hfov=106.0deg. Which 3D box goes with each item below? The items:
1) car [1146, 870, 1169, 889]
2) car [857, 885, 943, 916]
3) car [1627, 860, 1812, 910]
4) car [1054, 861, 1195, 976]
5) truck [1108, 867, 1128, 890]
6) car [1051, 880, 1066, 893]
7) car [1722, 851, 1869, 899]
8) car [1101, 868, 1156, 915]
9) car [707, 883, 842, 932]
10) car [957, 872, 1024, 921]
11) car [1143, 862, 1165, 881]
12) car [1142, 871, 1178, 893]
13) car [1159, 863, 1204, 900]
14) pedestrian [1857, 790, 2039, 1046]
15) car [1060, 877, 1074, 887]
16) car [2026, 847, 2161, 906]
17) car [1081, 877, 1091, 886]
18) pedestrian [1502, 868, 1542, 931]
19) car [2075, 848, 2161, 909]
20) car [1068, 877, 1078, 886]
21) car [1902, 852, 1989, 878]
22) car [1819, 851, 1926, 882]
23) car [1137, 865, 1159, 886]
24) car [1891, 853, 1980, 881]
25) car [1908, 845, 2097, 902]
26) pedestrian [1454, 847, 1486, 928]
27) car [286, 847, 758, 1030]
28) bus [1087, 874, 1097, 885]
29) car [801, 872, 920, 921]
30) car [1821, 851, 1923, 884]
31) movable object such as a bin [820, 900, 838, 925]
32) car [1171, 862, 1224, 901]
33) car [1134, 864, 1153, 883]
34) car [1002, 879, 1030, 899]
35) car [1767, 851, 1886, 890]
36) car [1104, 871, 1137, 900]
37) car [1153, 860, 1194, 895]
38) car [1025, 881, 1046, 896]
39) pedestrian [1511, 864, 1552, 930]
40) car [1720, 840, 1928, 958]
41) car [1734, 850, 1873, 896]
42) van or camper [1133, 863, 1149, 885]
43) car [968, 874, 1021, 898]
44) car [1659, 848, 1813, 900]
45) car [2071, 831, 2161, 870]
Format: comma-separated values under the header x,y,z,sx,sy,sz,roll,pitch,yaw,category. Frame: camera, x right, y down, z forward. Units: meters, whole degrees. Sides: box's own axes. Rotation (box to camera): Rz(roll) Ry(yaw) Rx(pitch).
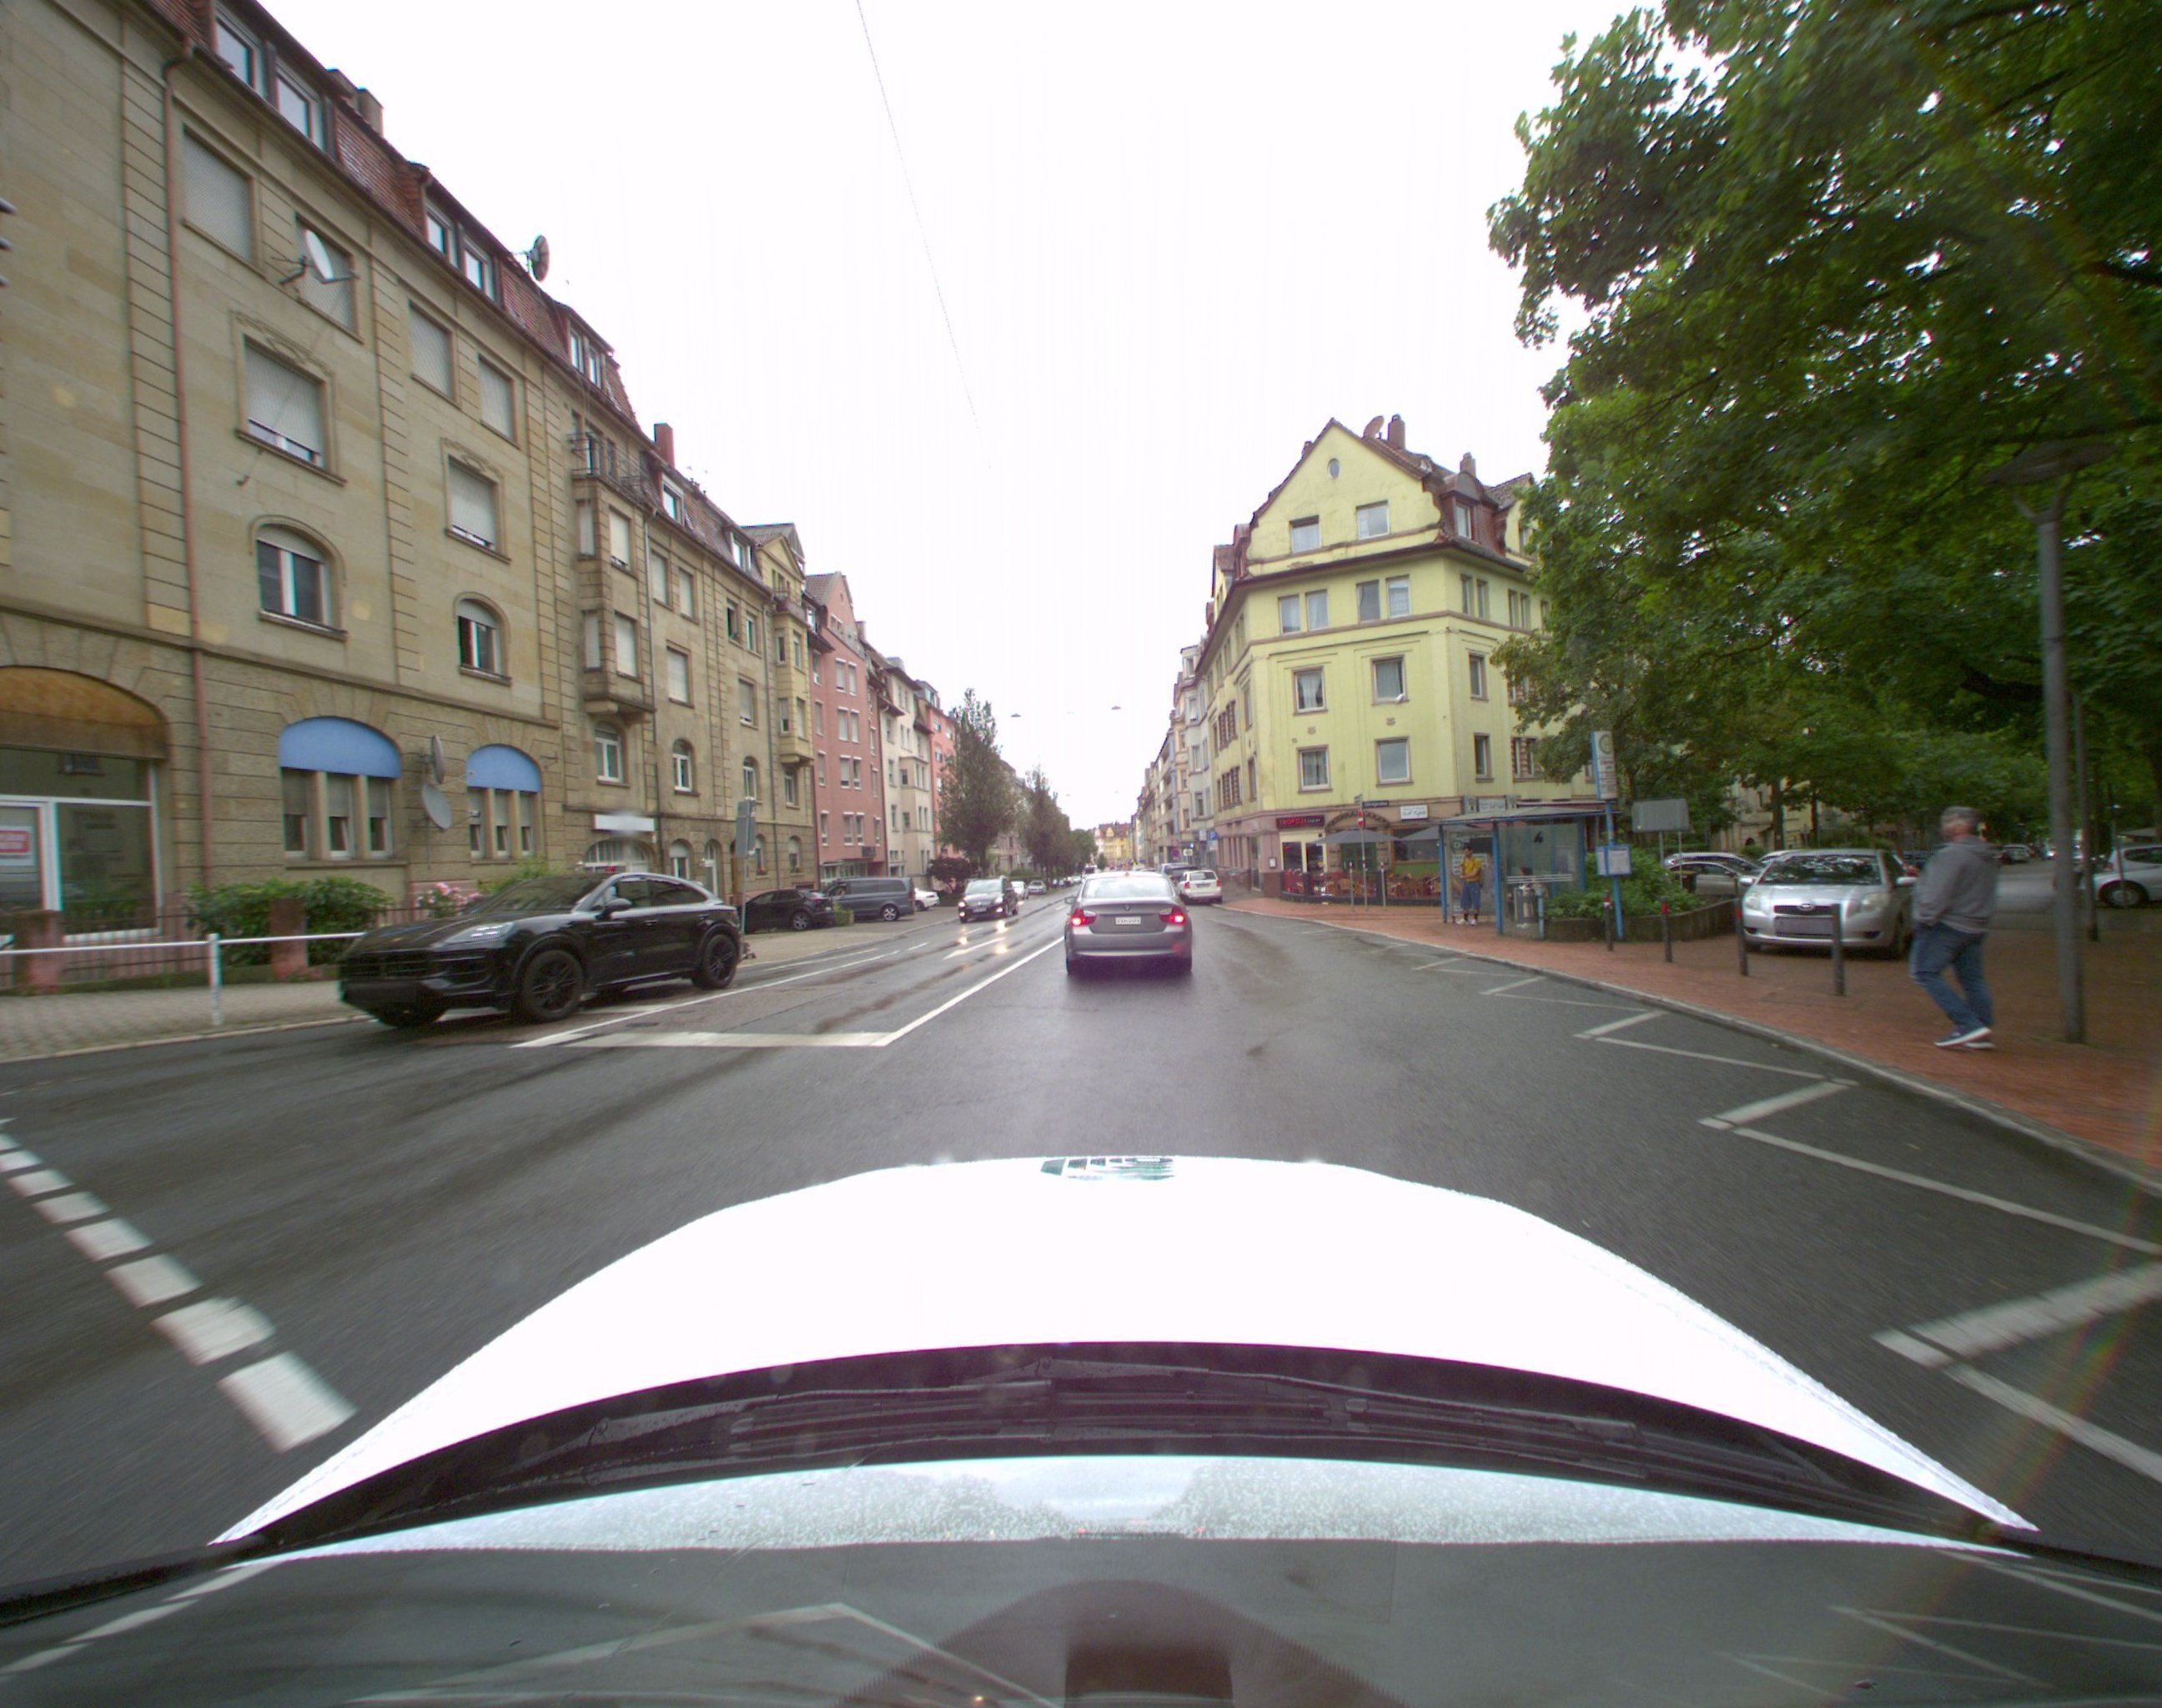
x,y,z,sx,sy,sz,roll,pitch,yaw,category
6.156,2.050,66.134,1.605,1.475,4.017,-2,-2,2,car
-10.656,2.732,48.157,4.531,1.401,1.768,-4,-2,1,car
21.400,1.015,27.483,1.801,1.528,4.595,0,-1,-37,car
0.641,0.865,12.245,1.762,1.428,3.743,-1,-1,2,car
4.012,2.668,88.831,2.024,2.413,4.827,-2,-2,1,truck
-3.101,4.482,112.969,1.760,1.594,4.000,-5,-2,1,car
27.490,0.811,31.423,1.801,1.727,3.955,0,-1,-37,car
1.607,1.248,27.495,1.674,1.428,3.743,-2,-2,3,car
-11.089,1.919,29.628,4.131,1.511,1.874,-2,-1,2,car
-3.454,1.590,31.887,1.613,1.649,4.426,-6,-2,5,car
7.075,1.725,79.336,1.719,1.670,4.290,-5,-2,2,car
5.684,2.047,59.230,1.871,1.467,4.767,-2,-2,-4,car
5.059,1.391,41.562,1.871,1.732,4.678,-1,-2,2,car
6.275,0.439,5.942,0.722,1.734,0.577,-2,-1,30,pedestrian
-2.293,4.593,134.582,1.820,1.523,3.739,-5,-2,3,car
27.119,0.561,21.005,1.598,1.465,3.461,0,-1,-37,car
0.899,4.943,147.209,1.630,1.508,3.756,-6,-2,2,car
9.145,0.942,16.912,0.565,1.280,0.621,-1,-1,15,pedestrian
25.998,0.528,18.477,1.716,1.396,4.285,0,-1,-37,car
-1.520,5.202,154.980,1.684,1.523,3.739,-5,-2,3,car
58.760,0.770,55.373,1.801,1.748,3.853,0,-1,-37,car
42.260,0.673,43.557,1.740,1.589,3.853,0,-1,-37,car
7.069,2.230,86.051,1.974,2.007,4.627,-4,-2,2,car
56.401,0.868,53.794,1.801,1.748,3.853,0,-1,-37,car
29.039,0.620,25.772,1.686,1.667,3.744,0,-1,-34,car
8.665,0.734,18.142,0.553,1.775,0.549,-2,-1,30,pedestrian
-6.319,0.906,10.130,1.952,1.693,4.821,-3,-3,10,car
3.364,7.578,241.859,2.658,3.024,7.673,-4,-2,2,bus
-9.353,1.794,34.901,4.671,1.939,1.858,-1,-1,-8,car
44.011,0.765,45.377,1.801,1.748,3.853,0,-1,-37,car
-9.729,2.259,31.444,0.502,0.950,0.441,-1,-2,7,movable object such as a bin
5.120,1.202,36.236,1.792,1.565,4.493,-1,-2,1,car
7.698,2.418,100.660,1.974,2.166,4.752,-4,-2,2,car
-5.101,2.774,64.646,1.614,1.446,4.008,-3,-2,3,car
35.172,0.786,38.484,1.801,1.748,3.853,0,-1,-37,car
2.195,1.740,44.988,1.691,1.483,3.795,-2,-2,2,car
5.329,1.387,47.673,1.912,1.827,5.011,-4,-2,2,car
-4.701,3.542,84.208,1.719,1.484,3.991,-1,-2,3,car
8.976,0.845,16.233,0.565,1.280,0.536,-1,-1,14,pedestrian
11.170,0.609,12.174,3.692,1.502,1.751,1,-1,-39,car
29.463,0.776,33.308,1.801,1.789,3.955,0,-1,-37,car
8.248,2.681,111.182,2.023,2.869,6.895,0,-1,6,van or camper
-8.390,3.084,79.442,4.811,1.974,2.049,-4,-2,2,car
23.298,0.716,29.087,1.801,1.727,3.955,0,-1,-37,car
42.911,-0.130,32.901,1.689,1.536,3.610,0,-1,-37,car
